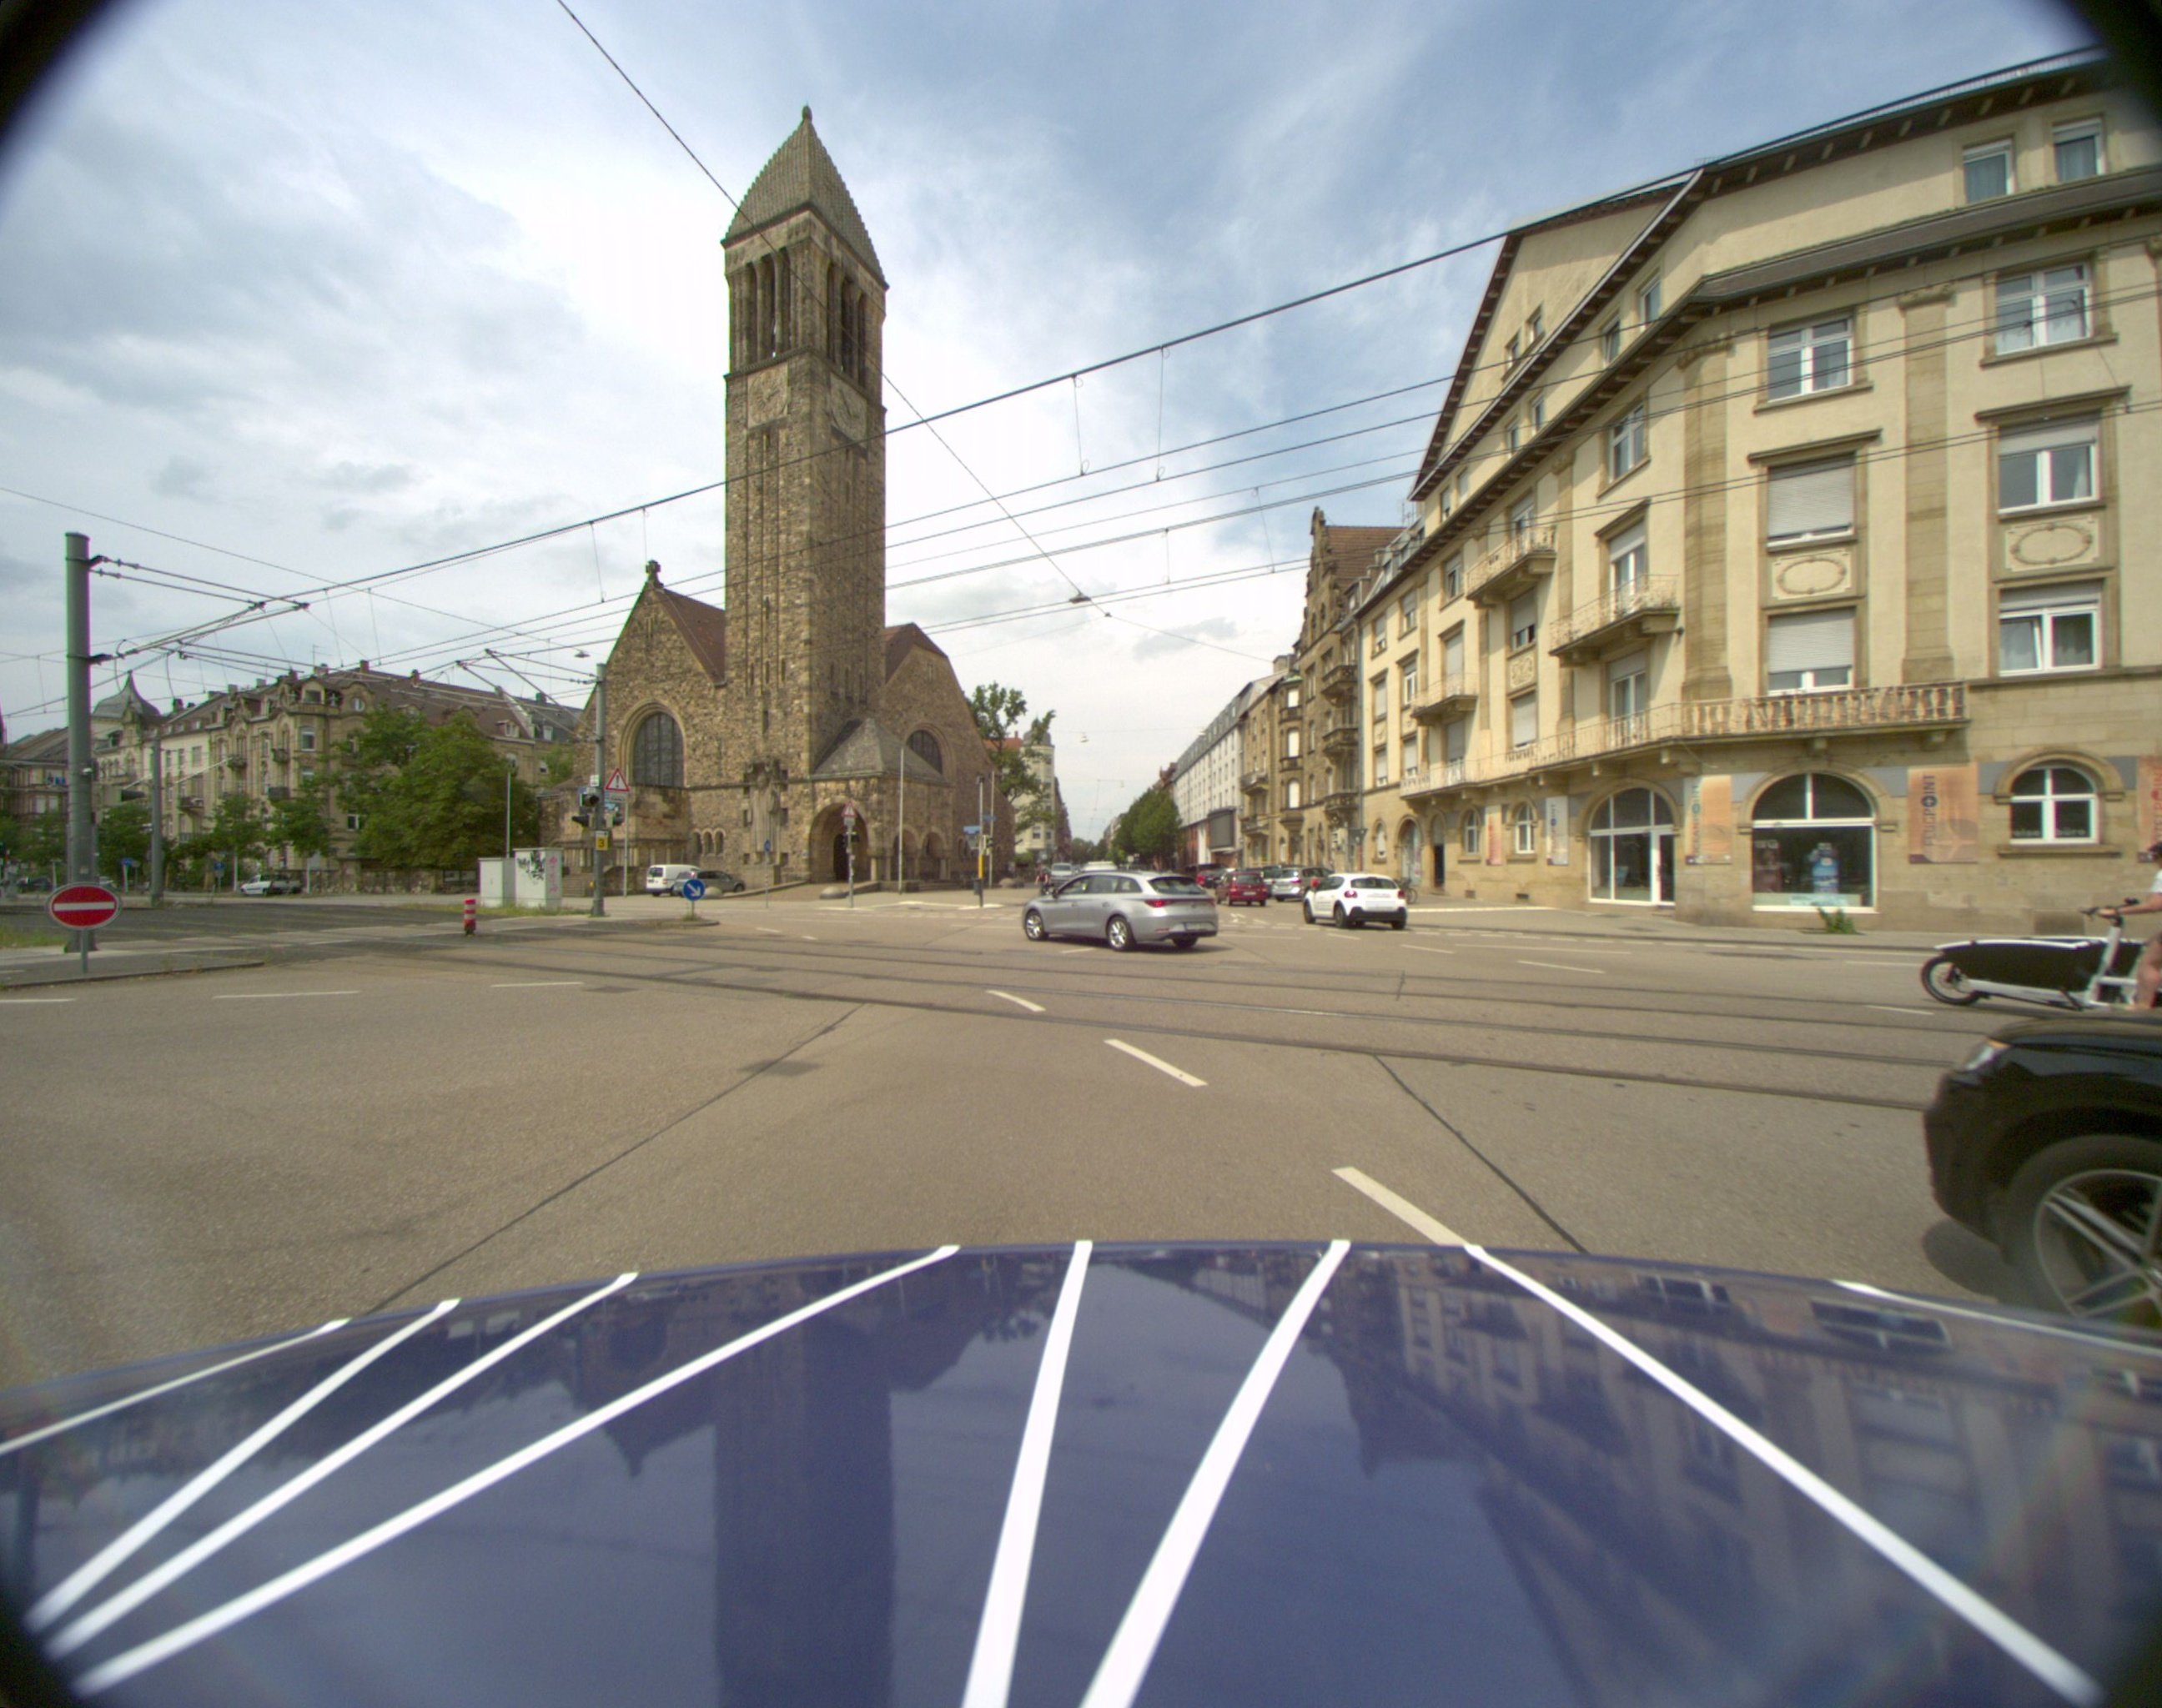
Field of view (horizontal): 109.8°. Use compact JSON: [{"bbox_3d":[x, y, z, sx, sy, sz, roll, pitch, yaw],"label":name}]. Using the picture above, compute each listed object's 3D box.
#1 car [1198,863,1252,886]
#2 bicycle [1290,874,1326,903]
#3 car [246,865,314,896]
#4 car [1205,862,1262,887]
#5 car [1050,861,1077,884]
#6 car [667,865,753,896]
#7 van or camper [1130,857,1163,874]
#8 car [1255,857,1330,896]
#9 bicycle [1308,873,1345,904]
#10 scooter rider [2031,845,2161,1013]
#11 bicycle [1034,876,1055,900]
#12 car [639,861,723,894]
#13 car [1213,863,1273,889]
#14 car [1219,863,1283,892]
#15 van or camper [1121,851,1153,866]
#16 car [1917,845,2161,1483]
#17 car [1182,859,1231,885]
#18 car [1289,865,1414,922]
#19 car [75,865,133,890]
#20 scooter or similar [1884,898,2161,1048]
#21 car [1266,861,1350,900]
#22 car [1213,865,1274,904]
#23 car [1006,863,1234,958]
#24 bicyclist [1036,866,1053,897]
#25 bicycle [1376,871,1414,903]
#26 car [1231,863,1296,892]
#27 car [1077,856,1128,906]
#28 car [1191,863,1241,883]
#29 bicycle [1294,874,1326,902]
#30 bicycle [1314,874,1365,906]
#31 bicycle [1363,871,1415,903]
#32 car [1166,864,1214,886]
[{"bbox_3d":[11.027,1.549,58.164,3.834,1.526,1.755,-3,-2,-34],"label":"car"},{"bbox_3d":[9.664,1.464,32.334,1.345,1.185,0.397,-3,0,-1],"label":"bicycle"},{"bbox_3d":[-54.572,1.761,51.764,3.990,2.002,2.004,0,0,25],"label":"car"},{"bbox_3d":[11.042,1.449,54.843,3.834,1.526,1.755,-3,-2,-34],"label":"car"},{"bbox_3d":[-1.439,1.546,65.213,2.082,1.852,4.681,0,0,1],"label":"car"},{"bbox_3d":[-20.919,1.450,43.035,1.995,1.641,4.007,0,0,25],"label":"car"},{"bbox_3d":[8.252,1.447,95.775,3.998,2.002,2.000,0,0,-3],"label":"van or camper"},{"bbox_3d":[11.105,1.163,39.777,3.835,1.808,1.755,-3,-2,-39],"label":"car"},{"bbox_3d":[10.189,1.416,31.554,1.345,1.185,0.397,-3,0,-6],"label":"bicycle"},{"bbox_3d":[9.200,0.615,6.516,0.741,1.368,1.087,0,0,0],"label":"scooter rider"},{"bbox_3d":[-1.783,1.669,37.370,0.598,1.079,1.814,-2,0,10],"label":"bicycle"},{"bbox_3d":[-23.456,1.344,44.676,1.995,1.870,3.961,0,0,25],"label":"car"},{"bbox_3d":[11.121,1.494,52.137,3.834,1.526,1.755,-3,-2,-34],"label":"car"},{"bbox_3d":[10.886,1.500,48.574,3.834,1.526,1.755,-3,-2,-34],"label":"car"},{"bbox_3d":[7.643,0.631,104.384,4.000,2.002,1.999,0,0,-8],"label":"van or camper"},{"bbox_3d":[3.685,0.771,0.295,1.827,1.637,4.427,-1,0,0],"label":"car"},{"bbox_3d":[10.496,1.469,63.538,3.834,1.882,1.755,-3,-2,-34],"label":"car"},{"bbox_3d":[7.347,1.012,21.075,1.739,1.423,4.240,0,-1,-3],"label":"car"},{"bbox_3d":[-83.246,1.980,64.745,3.990,2.002,2.003,0,0,23],"label":"car"},{"bbox_3d":[9.213,1.034,7.019,0.741,1.131,2.688,0,-1,0],"label":"scooter or similar"},{"bbox_3d":[10.906,1.265,36.409,4.043,1.579,1.755,-3,-2,-39],"label":"car"},{"bbox_3d":[7.096,1.298,33.555,1.768,1.515,4.000,1,0,-1],"label":"car"},{"bbox_3d":[0.535,0.938,14.674,1.772,1.515,4.835,0,0,-36],"label":"car"},{"bbox_3d":[-1.795,1.327,37.383,0.588,1.488,0.840,-2,0,10],"label":"bicyclist"},{"bbox_3d":[12.541,1.301,30.366,1.345,1.185,0.397,-3,0,-6],"label":"bicycle"},{"bbox_3d":[10.997,1.401,45.704,3.835,1.526,1.755,-3,-2,-39],"label":"car"},{"bbox_3d":[0.922,1.128,33.403,2.082,2.039,4.681,0,0,1],"label":"car"},{"bbox_3d":[10.805,1.486,60.868,3.835,1.526,1.755,0,-1,-34],"label":"car"},{"bbox_3d":[10.099,1.489,33.541,1.347,1.185,0.397,0,0,-17],"label":"bicycle"},{"bbox_3d":[10.048,1.381,29.544,1.821,1.185,0.397,-1,0,-3],"label":"bicycle"},{"bbox_3d":[12.102,1.299,29.843,1.830,1.185,0.397,-2,-1,-1],"label":"bicycle"},{"bbox_3d":[9.564,1.814,66.428,3.834,1.675,1.755,-3,-2,-34],"label":"car"}]
